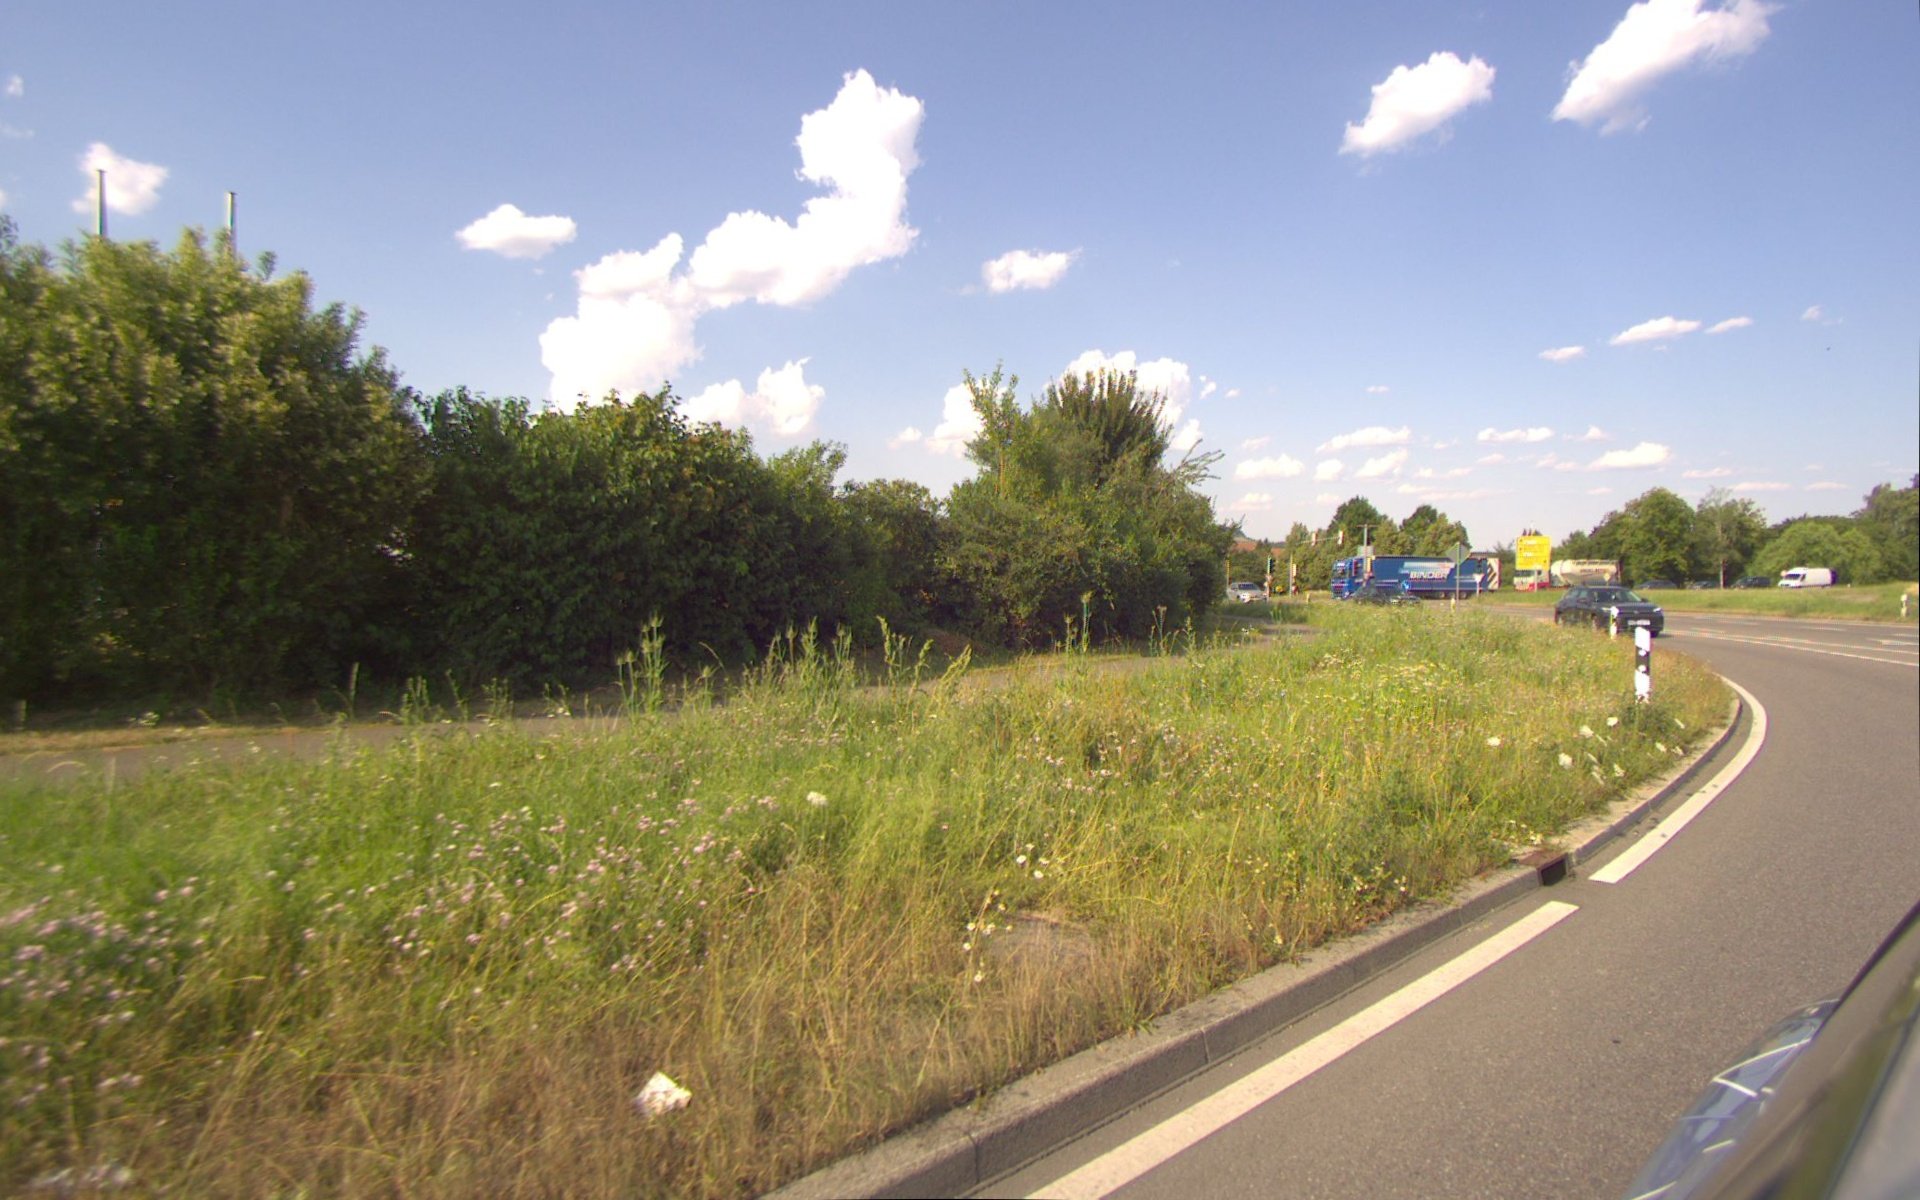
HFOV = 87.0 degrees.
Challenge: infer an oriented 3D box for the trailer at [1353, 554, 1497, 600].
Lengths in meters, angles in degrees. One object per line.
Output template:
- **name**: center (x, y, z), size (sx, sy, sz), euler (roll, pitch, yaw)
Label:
- **trailer**: center (43.426, -2.155, 94.410), size (13.461, 4.055, 3.426), euler (-1, 0, -19)

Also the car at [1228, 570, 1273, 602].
- **car**: center (19.559, -0.972, 68.282), size (1.874, 1.972, 4.369), euler (-3, 1, 3)

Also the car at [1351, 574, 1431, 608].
- **car**: center (21.686, -0.452, 51.138), size (1.741, 1.633, 4.552), euler (-1, 0, -4)

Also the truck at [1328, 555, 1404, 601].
- **truck**: center (36.917, -2.021, 92.156), size (5.484, 4.055, 3.383), euler (-1, 0, -19)

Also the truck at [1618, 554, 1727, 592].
- **truck**: center (77.251, -2.944, 109.703), size (12.628, 3.822, 2.535), euler (-1, -1, -18)

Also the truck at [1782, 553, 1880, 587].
- **truck**: center (101.438, -3.494, 117.839), size (12.628, 3.821, 2.535), euler (-1, 0, -18)

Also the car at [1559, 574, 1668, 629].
- **car**: center (21.241, 0.033, 33.090), size (1.764, 1.650, 4.445), euler (-1, 0, 17)

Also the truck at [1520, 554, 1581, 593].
- **truck**: center (60.383, -2.688, 103.560), size (5.566, 3.853, 2.267), euler (-1, 0, -19)

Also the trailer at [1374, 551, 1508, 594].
- **trailer**: center (47.460, -2.699, 99.739), size (14.034, 4.118, 2.545), euler (-1, 0, -19)

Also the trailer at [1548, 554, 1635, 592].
- **trailer**: center (65.765, -2.781, 105.418), size (9.325, 3.825, 2.270), euler (-1, -1, -19)
